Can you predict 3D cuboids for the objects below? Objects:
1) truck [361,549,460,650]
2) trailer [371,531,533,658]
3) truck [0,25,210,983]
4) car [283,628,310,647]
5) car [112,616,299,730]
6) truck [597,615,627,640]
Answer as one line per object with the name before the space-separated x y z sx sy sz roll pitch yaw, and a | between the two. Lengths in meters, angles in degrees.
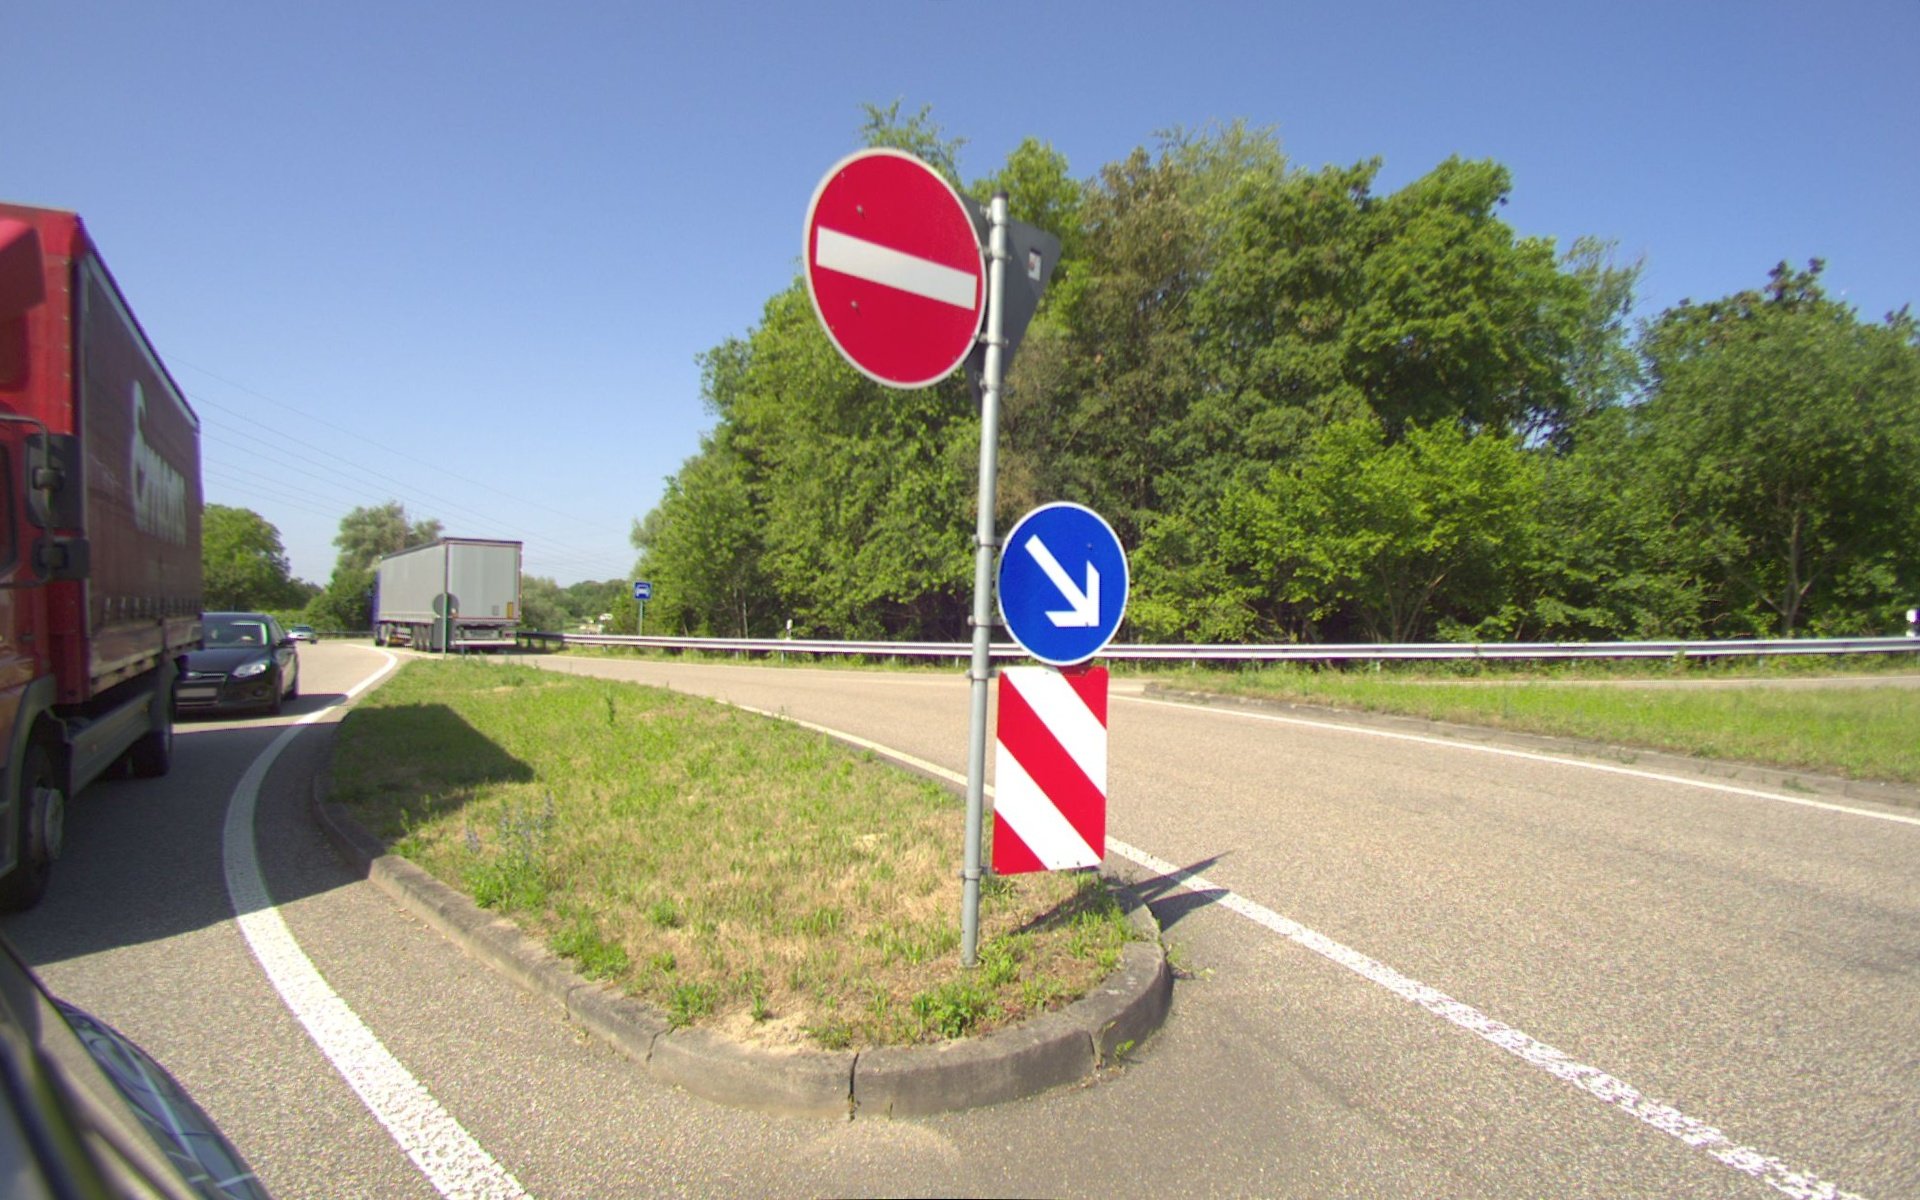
truck | -25.257 0.055 46.376 2.893 4.279 5.743 3 -3 -39
trailer | -20.820 0.007 40.758 2.912 4.300 14.008 3 -3 -38
truck | -7.272 -0.310 7.093 2.646 3.689 9.288 0 -1 -33
car | -53.827 3.023 82.175 1.758 1.396 4.390 0 -1 -33
car | -10.966 0.961 14.971 1.758 1.425 4.012 0 -1 -30
truck | -61.802 4.930 179.838 2.904 4.270 5.724 1 -2 5
